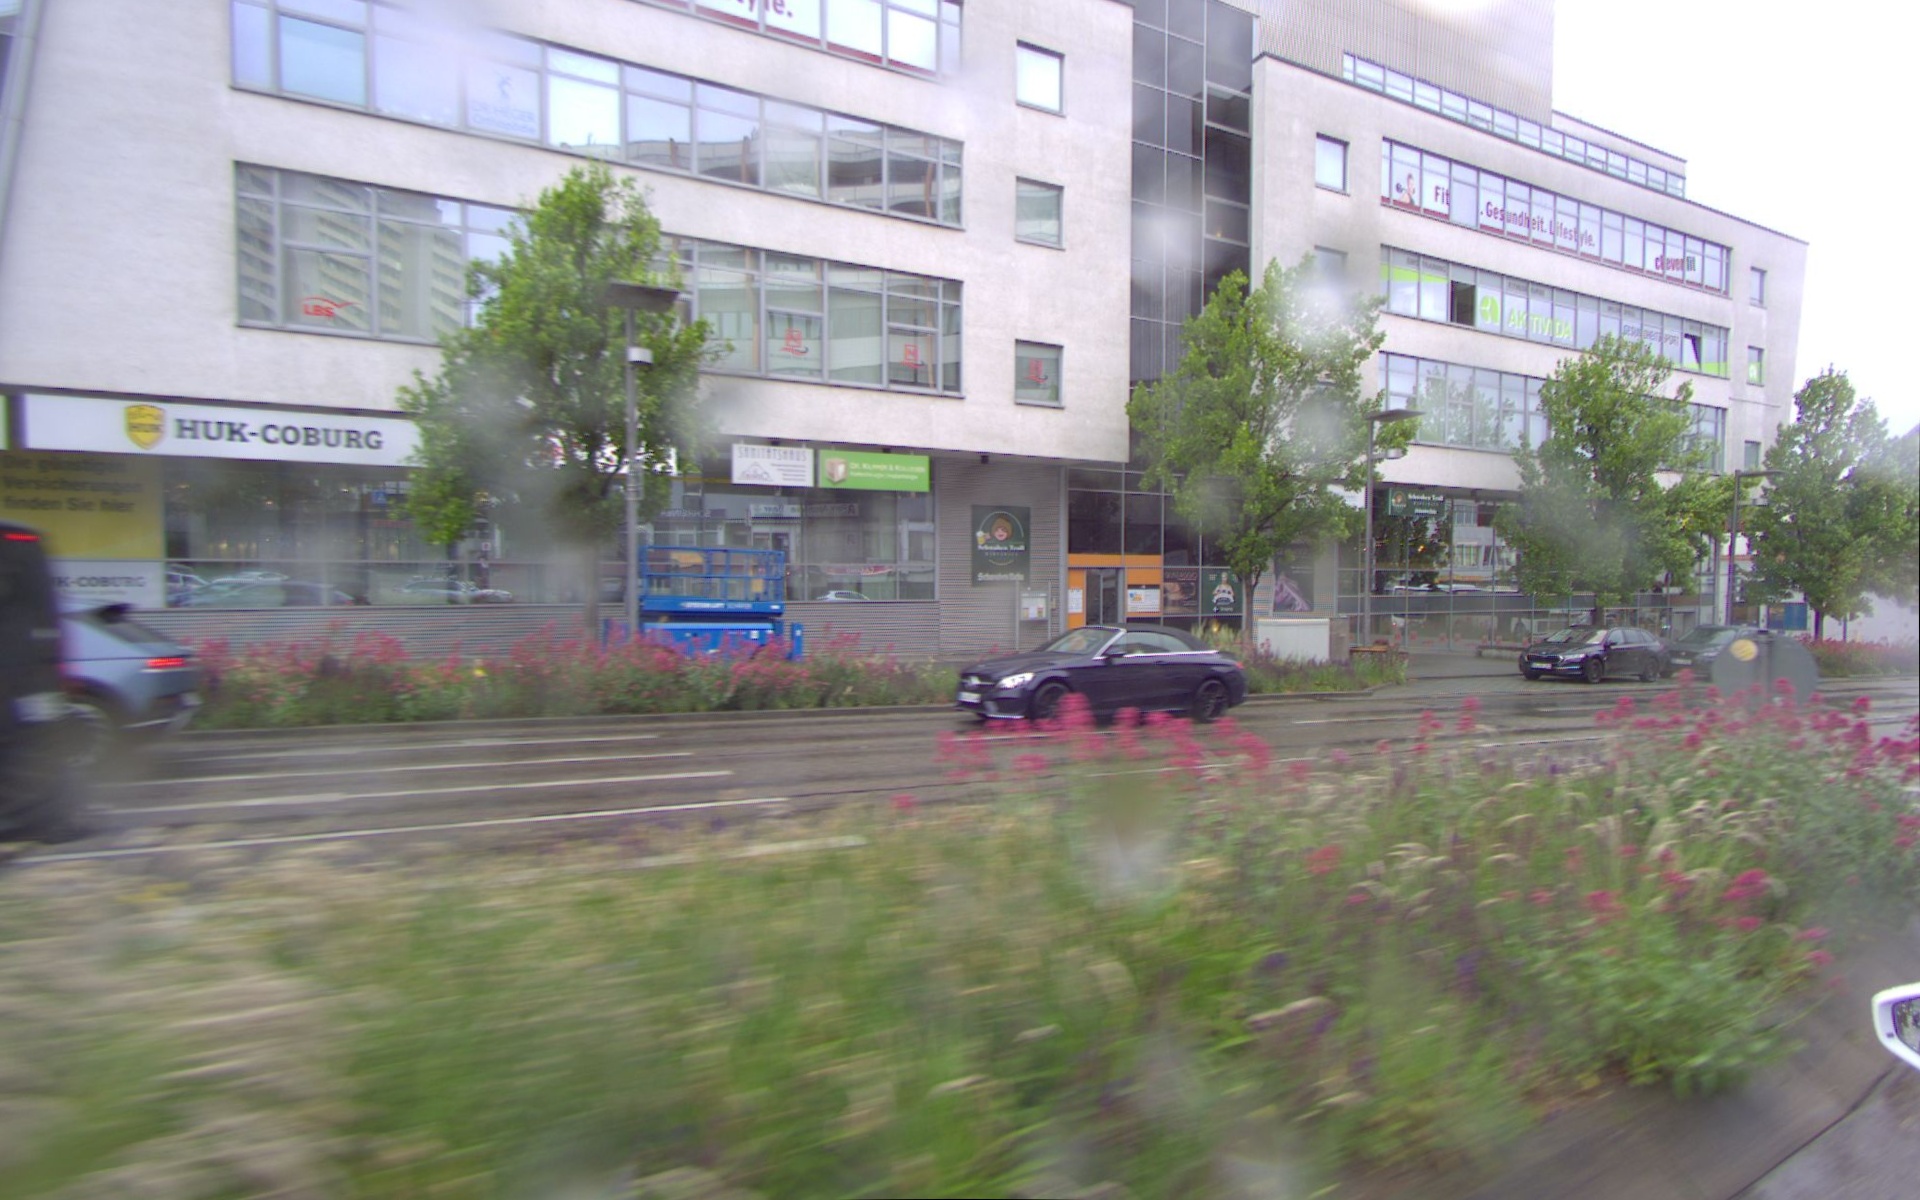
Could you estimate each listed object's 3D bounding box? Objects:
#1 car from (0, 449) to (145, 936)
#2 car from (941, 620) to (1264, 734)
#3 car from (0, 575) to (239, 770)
[{"bbox_3d":[-5.863,0.325,3.627,4.249,1.848,1.984,1,-1,-31],"label":"car"},{"bbox_3d":[2.118,1.017,14.483,4.546,1.406,1.717,1,-1,-30],"label":"car"},{"bbox_3d":[-9.183,0.637,8.711,4.531,1.615,1.767,1,-3,-29],"label":"car"}]
